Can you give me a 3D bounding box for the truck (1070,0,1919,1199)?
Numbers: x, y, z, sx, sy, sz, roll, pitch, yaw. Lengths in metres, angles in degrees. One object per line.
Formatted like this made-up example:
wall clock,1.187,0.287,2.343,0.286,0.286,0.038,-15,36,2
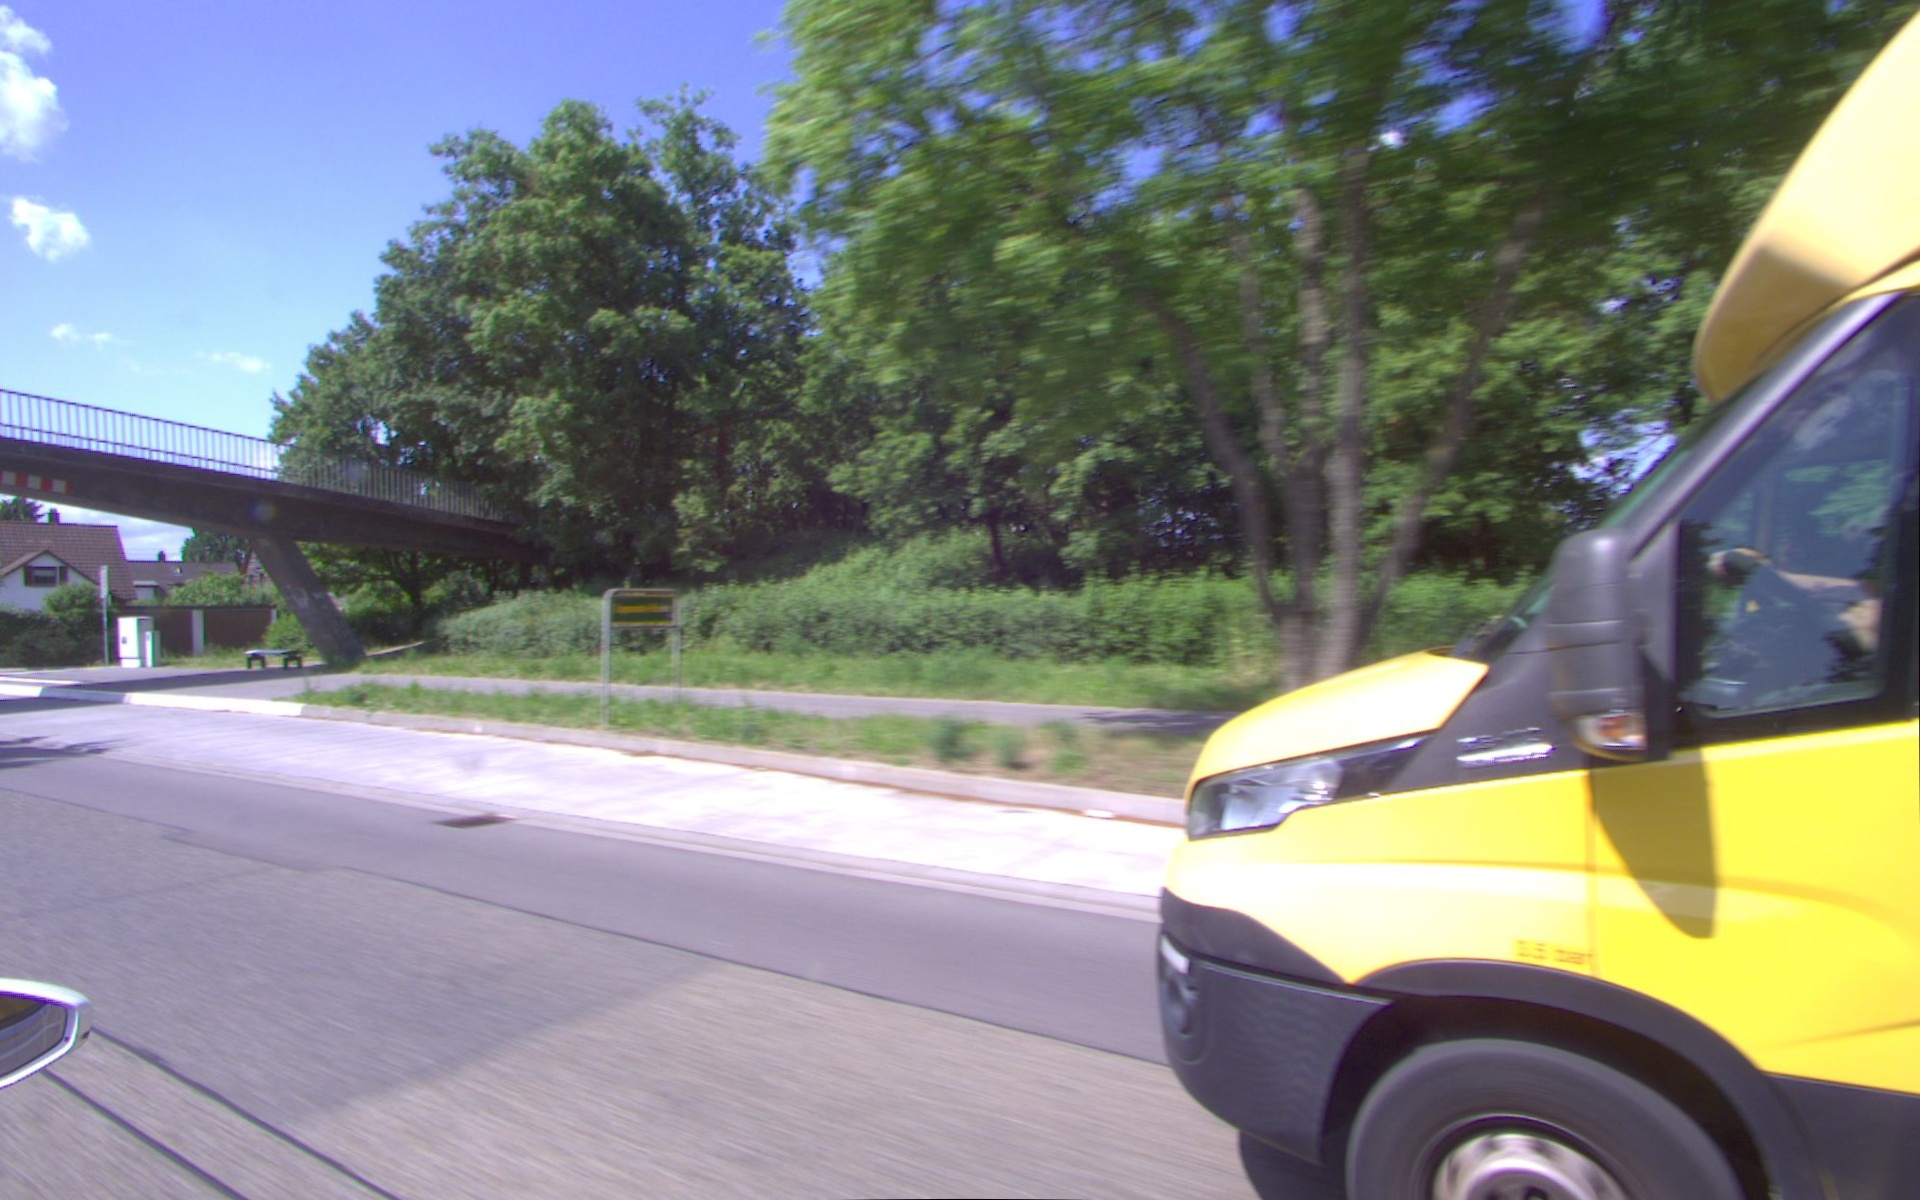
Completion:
truck,4.176,0.027,1.089,7.913,2.917,2.261,-1,-2,33
